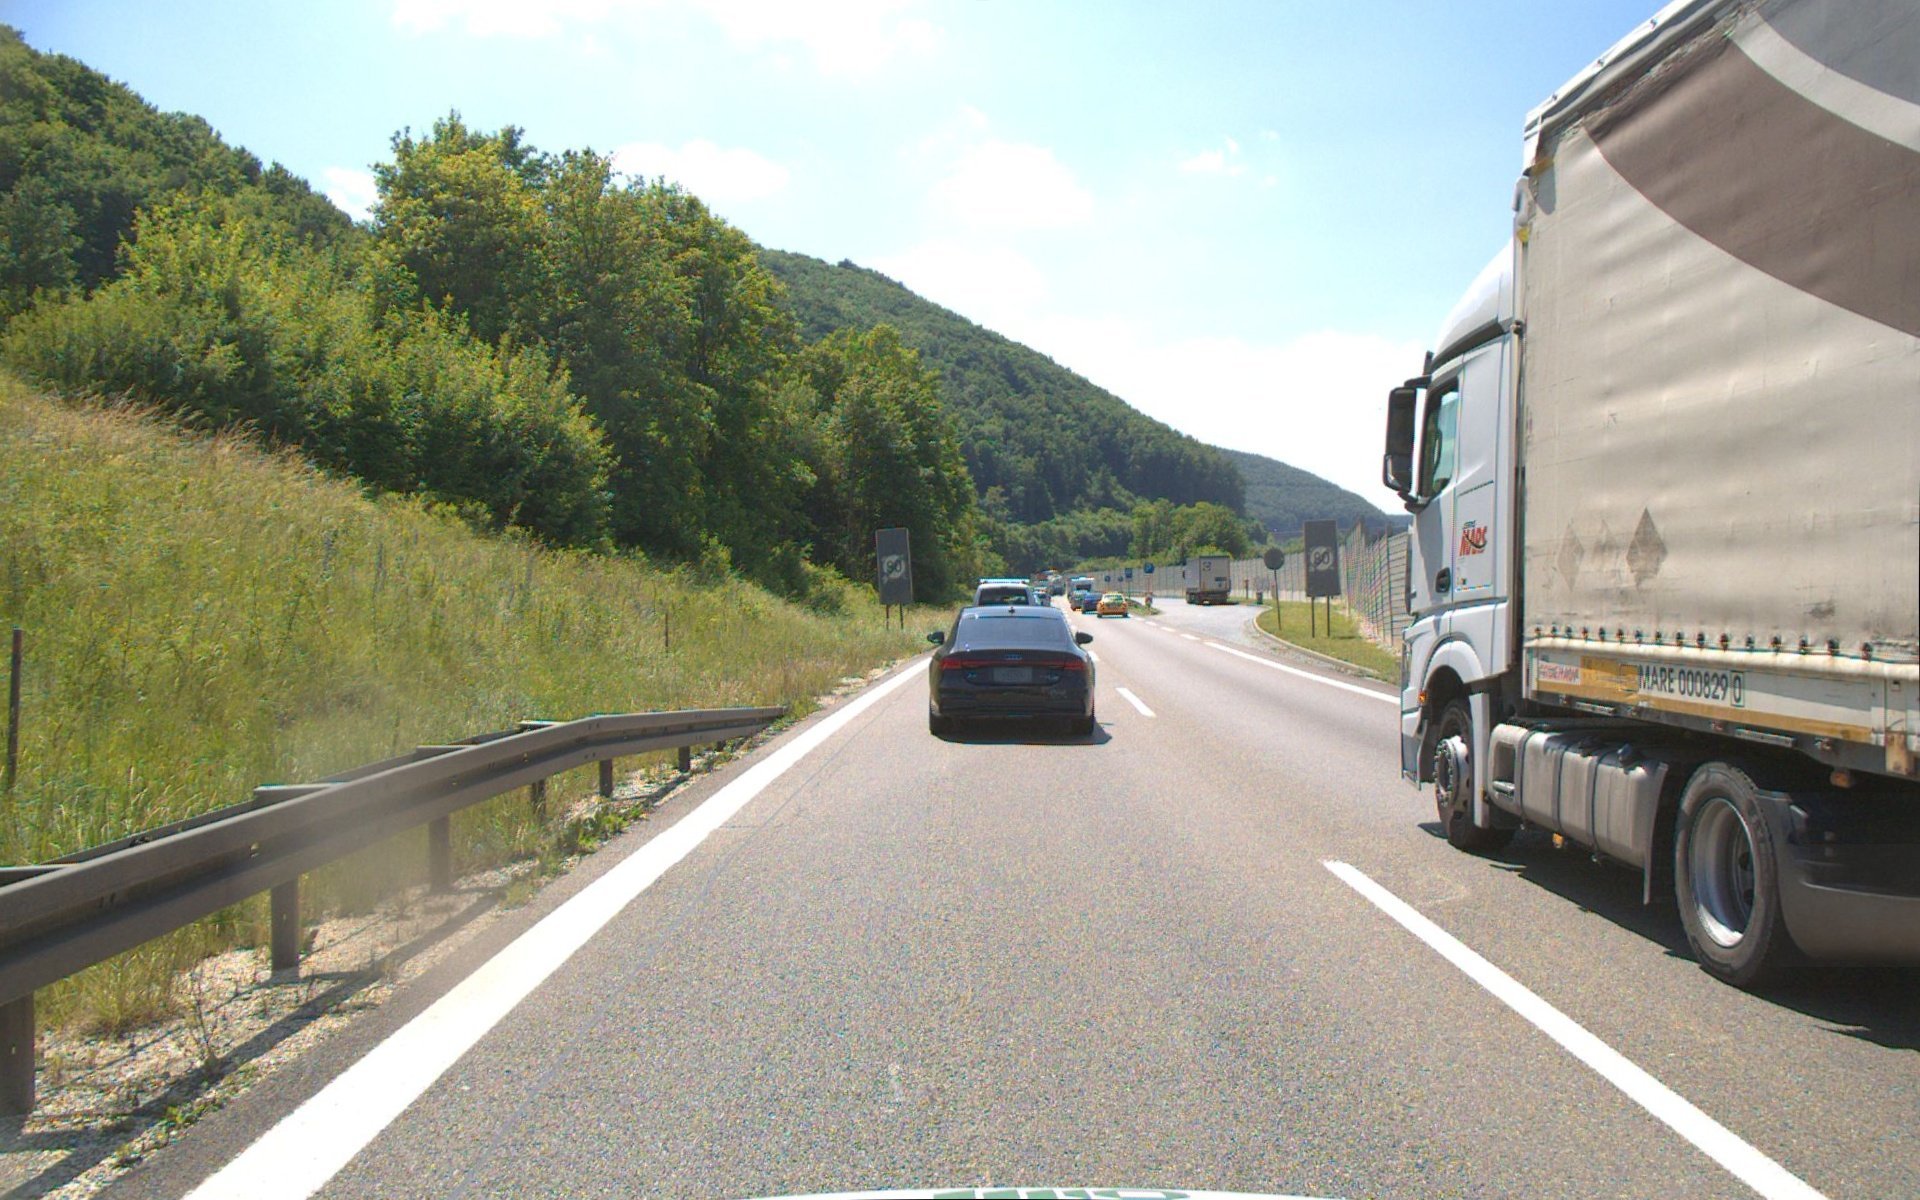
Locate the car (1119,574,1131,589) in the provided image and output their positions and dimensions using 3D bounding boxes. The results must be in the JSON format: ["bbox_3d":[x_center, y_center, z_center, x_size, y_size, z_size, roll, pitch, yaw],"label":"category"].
[{"bbox_3d":[22.996,-2.601,230.811,1.543,2.049,3.429,-1,0,3],"label":"car"}]

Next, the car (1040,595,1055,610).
[{"bbox_3d":[9.406,0.304,177.817,1.489,1.580,3.516,2,0,4],"label":"car"}]

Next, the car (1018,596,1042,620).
[{"bbox_3d":[4.772,0.551,111.966,1.489,1.580,3.516,2,0,4],"label":"car"}]

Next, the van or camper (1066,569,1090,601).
[{"bbox_3d":[15.138,-1.927,212.931,2.737,3.975,6.168,1,-1,1],"label":"van or camper"}]

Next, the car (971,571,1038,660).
[{"bbox_3d":[1.051,0.364,40.135,1.490,2.003,3.514,2,0,0],"label":"car"}]

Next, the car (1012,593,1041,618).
[{"bbox_3d":[3.719,0.318,93.233,1.490,1.317,3.514,2,0,1],"label":"car"}]

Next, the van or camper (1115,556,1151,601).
[{"bbox_3d":[15.864,-1.903,151.584,2.737,3.909,6.168,1,-1,1],"label":"van or camper"}]

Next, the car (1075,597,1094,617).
[{"bbox_3d":[10.276,0.580,136.418,1.498,1.552,3.598,1,-1,3],"label":"car"}]

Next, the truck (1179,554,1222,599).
[{"bbox_3d":[21.430,-2.073,147.731,3.340,3.968,5.389,0,0,3],"label":"truck"}]

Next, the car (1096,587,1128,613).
[{"bbox_3d":[9.292,-0.004,101.389,1.839,1.525,4.002,0,0,3],"label":"car"}]

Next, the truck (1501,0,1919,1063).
[{"bbox_3d":[4.493,-0.613,2.210,2.671,4.139,13.736,0,0,-2],"label":"truck"}]

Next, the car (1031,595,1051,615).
[{"bbox_3d":[6.839,0.408,139.555,1.489,1.580,3.516,2,0,5],"label":"car"}]

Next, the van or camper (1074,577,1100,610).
[{"bbox_3d":[12.632,-0.593,164.598,2.378,3.210,5.205,1,-1,3],"label":"van or camper"}]

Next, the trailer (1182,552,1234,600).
[{"bbox_3d":[21.169,-2.018,141.908,3.340,3.968,11.155,0,0,3],"label":"trailer"}]

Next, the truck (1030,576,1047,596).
[{"bbox_3d":[10.761,-1.922,225.419,2.021,2.651,5.617,2,0,5],"label":"truck"}]

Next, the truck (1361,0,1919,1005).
[{"bbox_3d":[4.296,-0.560,9.016,2.664,4.139,5.752,0,-1,-2],"label":"truck"}]

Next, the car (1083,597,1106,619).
[{"bbox_3d":[9.465,0.571,116.526,1.498,1.552,3.598,1,-1,3],"label":"car"}]

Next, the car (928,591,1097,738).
[{"bbox_3d":[0.634,0.675,19.182,1.774,1.541,3.515,0,0,3],"label":"car"}]
